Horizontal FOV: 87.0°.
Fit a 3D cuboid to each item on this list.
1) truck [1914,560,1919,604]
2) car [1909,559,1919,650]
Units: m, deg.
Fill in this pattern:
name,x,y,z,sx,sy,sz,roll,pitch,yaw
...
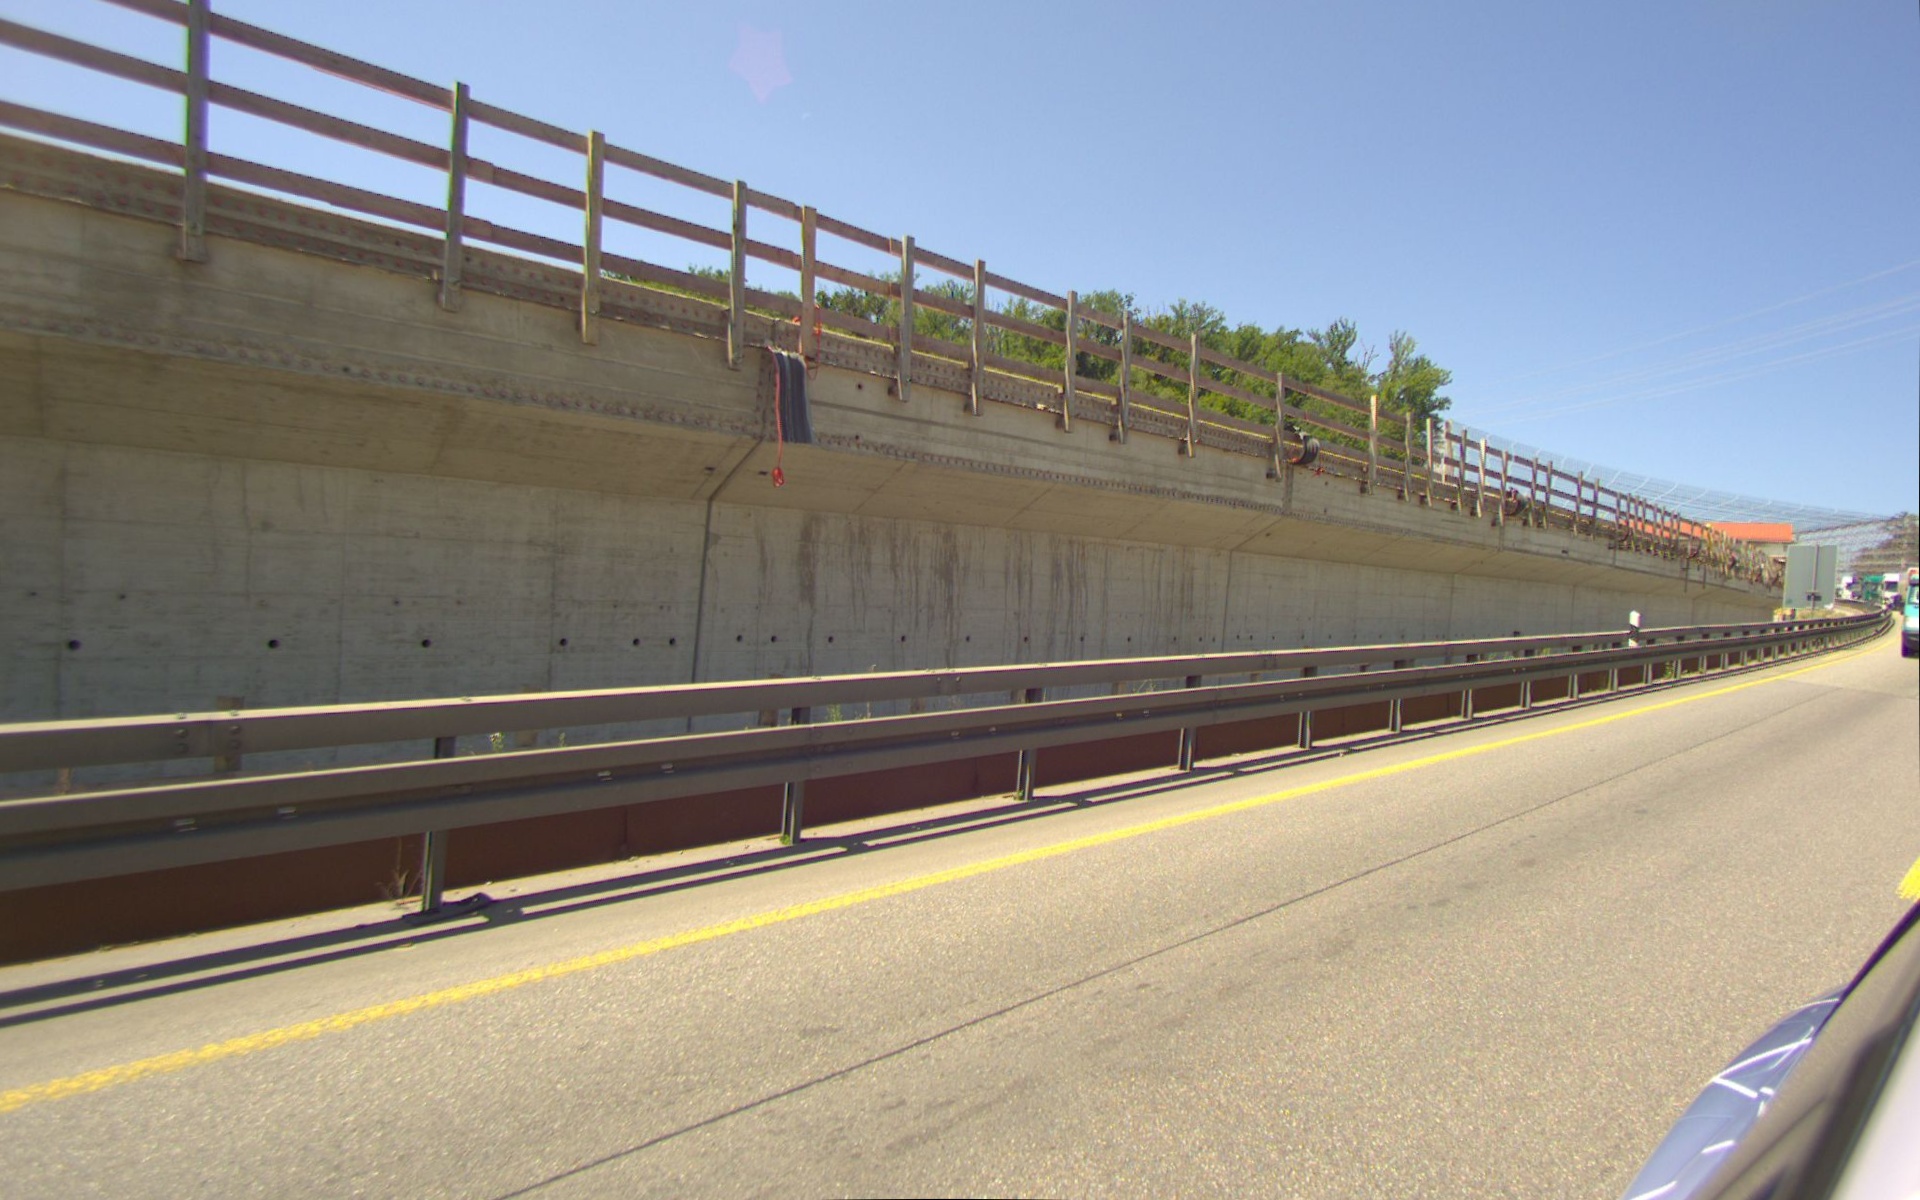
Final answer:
name,x,y,z,sx,sy,sz,roll,pitch,yaw
truck,80.756,-1.498,83.520,2.462,3.528,9.723,0,0,41
car,27.952,0.101,28.002,6.789,2.355,2.213,-1,2,-45
